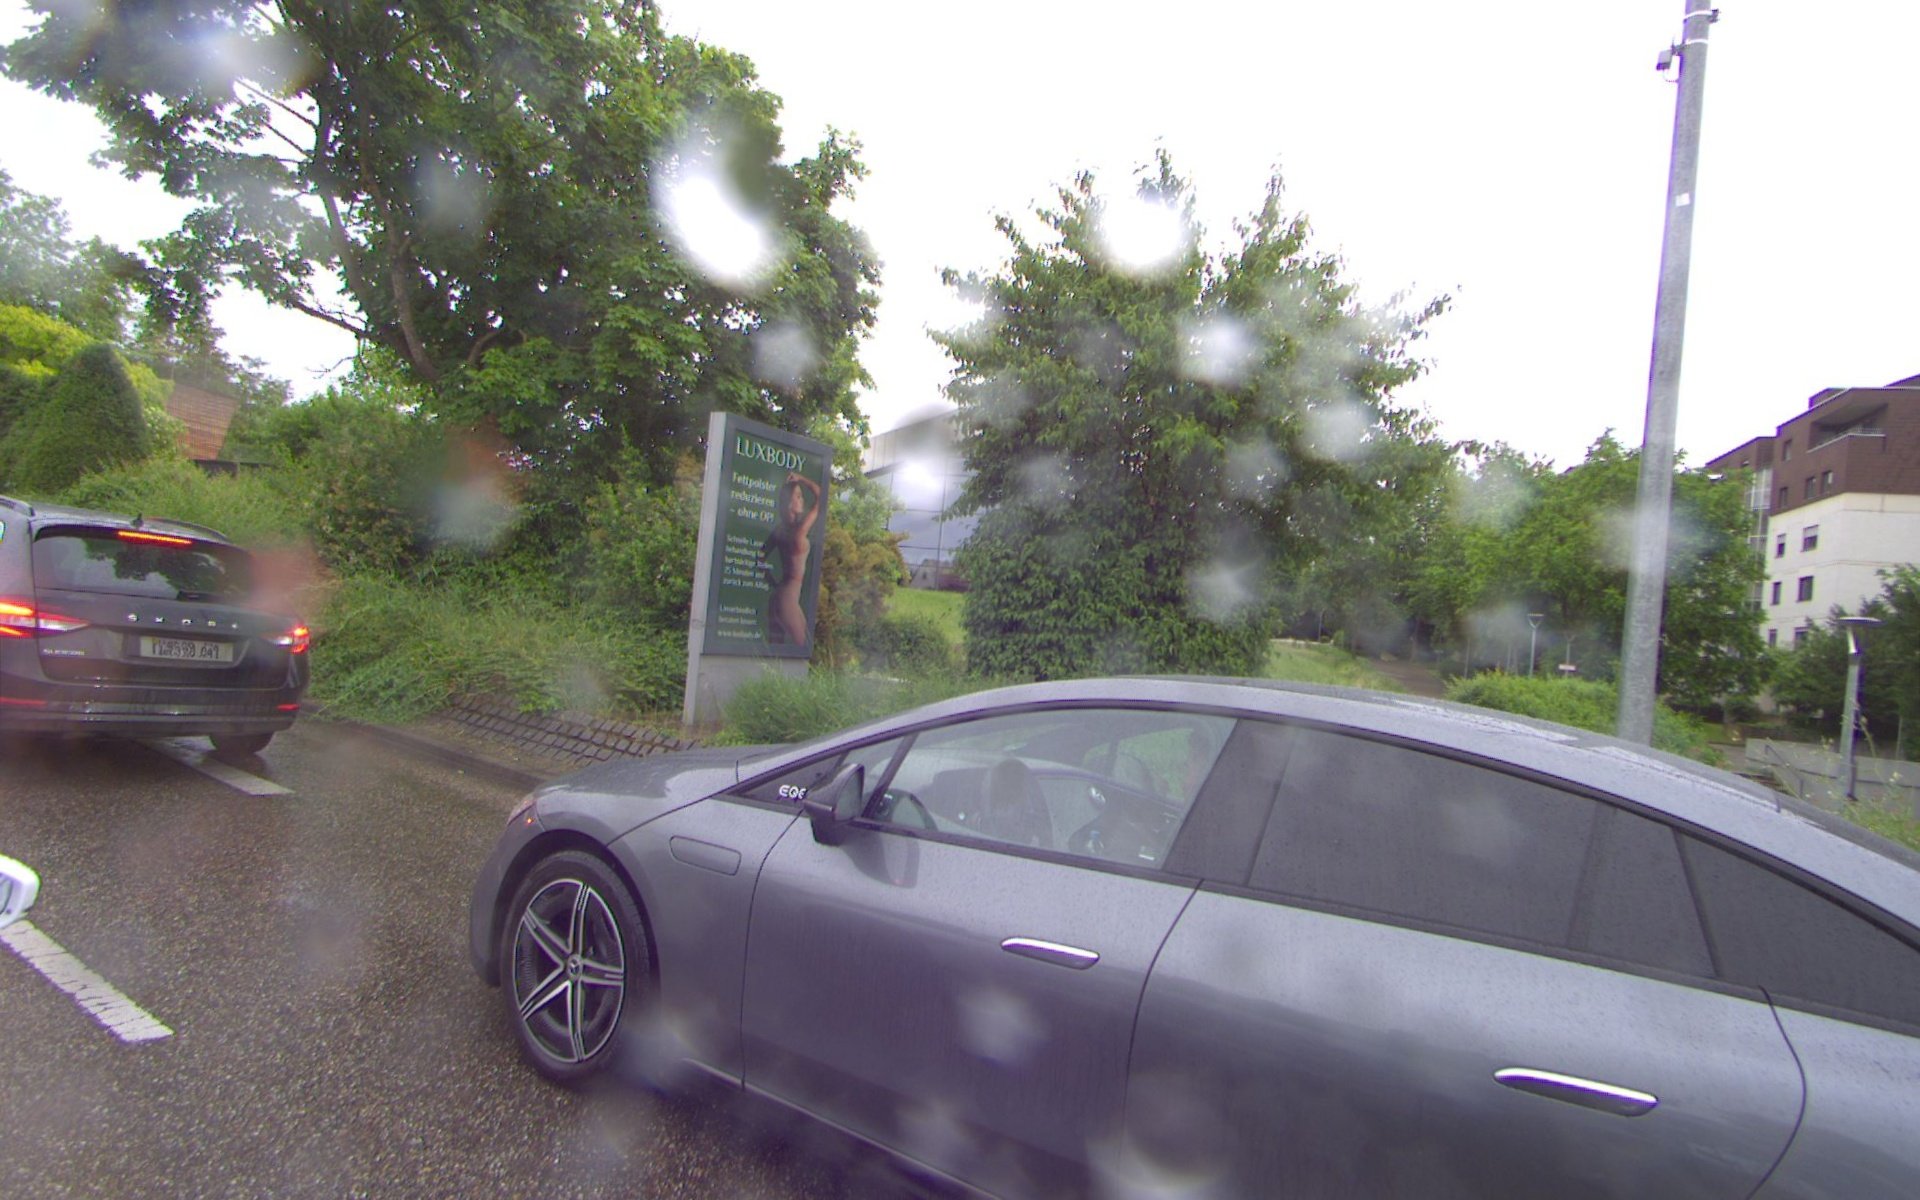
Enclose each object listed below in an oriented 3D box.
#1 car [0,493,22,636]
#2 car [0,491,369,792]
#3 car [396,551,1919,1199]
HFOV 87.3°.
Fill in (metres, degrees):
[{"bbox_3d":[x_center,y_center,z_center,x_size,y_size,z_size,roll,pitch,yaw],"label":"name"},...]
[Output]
[{"bbox_3d":[-12.171,-0.675,10.858,4.048,1.483,1.842,7,-2,31],"label":"car"},{"bbox_3d":[-6.103,0.075,6.756,4.279,1.483,1.841,7,-2,33],"label":"car"},{"bbox_3d":[0.691,0.923,2.914,4.727,1.483,1.842,7,-2,31],"label":"car"}]
